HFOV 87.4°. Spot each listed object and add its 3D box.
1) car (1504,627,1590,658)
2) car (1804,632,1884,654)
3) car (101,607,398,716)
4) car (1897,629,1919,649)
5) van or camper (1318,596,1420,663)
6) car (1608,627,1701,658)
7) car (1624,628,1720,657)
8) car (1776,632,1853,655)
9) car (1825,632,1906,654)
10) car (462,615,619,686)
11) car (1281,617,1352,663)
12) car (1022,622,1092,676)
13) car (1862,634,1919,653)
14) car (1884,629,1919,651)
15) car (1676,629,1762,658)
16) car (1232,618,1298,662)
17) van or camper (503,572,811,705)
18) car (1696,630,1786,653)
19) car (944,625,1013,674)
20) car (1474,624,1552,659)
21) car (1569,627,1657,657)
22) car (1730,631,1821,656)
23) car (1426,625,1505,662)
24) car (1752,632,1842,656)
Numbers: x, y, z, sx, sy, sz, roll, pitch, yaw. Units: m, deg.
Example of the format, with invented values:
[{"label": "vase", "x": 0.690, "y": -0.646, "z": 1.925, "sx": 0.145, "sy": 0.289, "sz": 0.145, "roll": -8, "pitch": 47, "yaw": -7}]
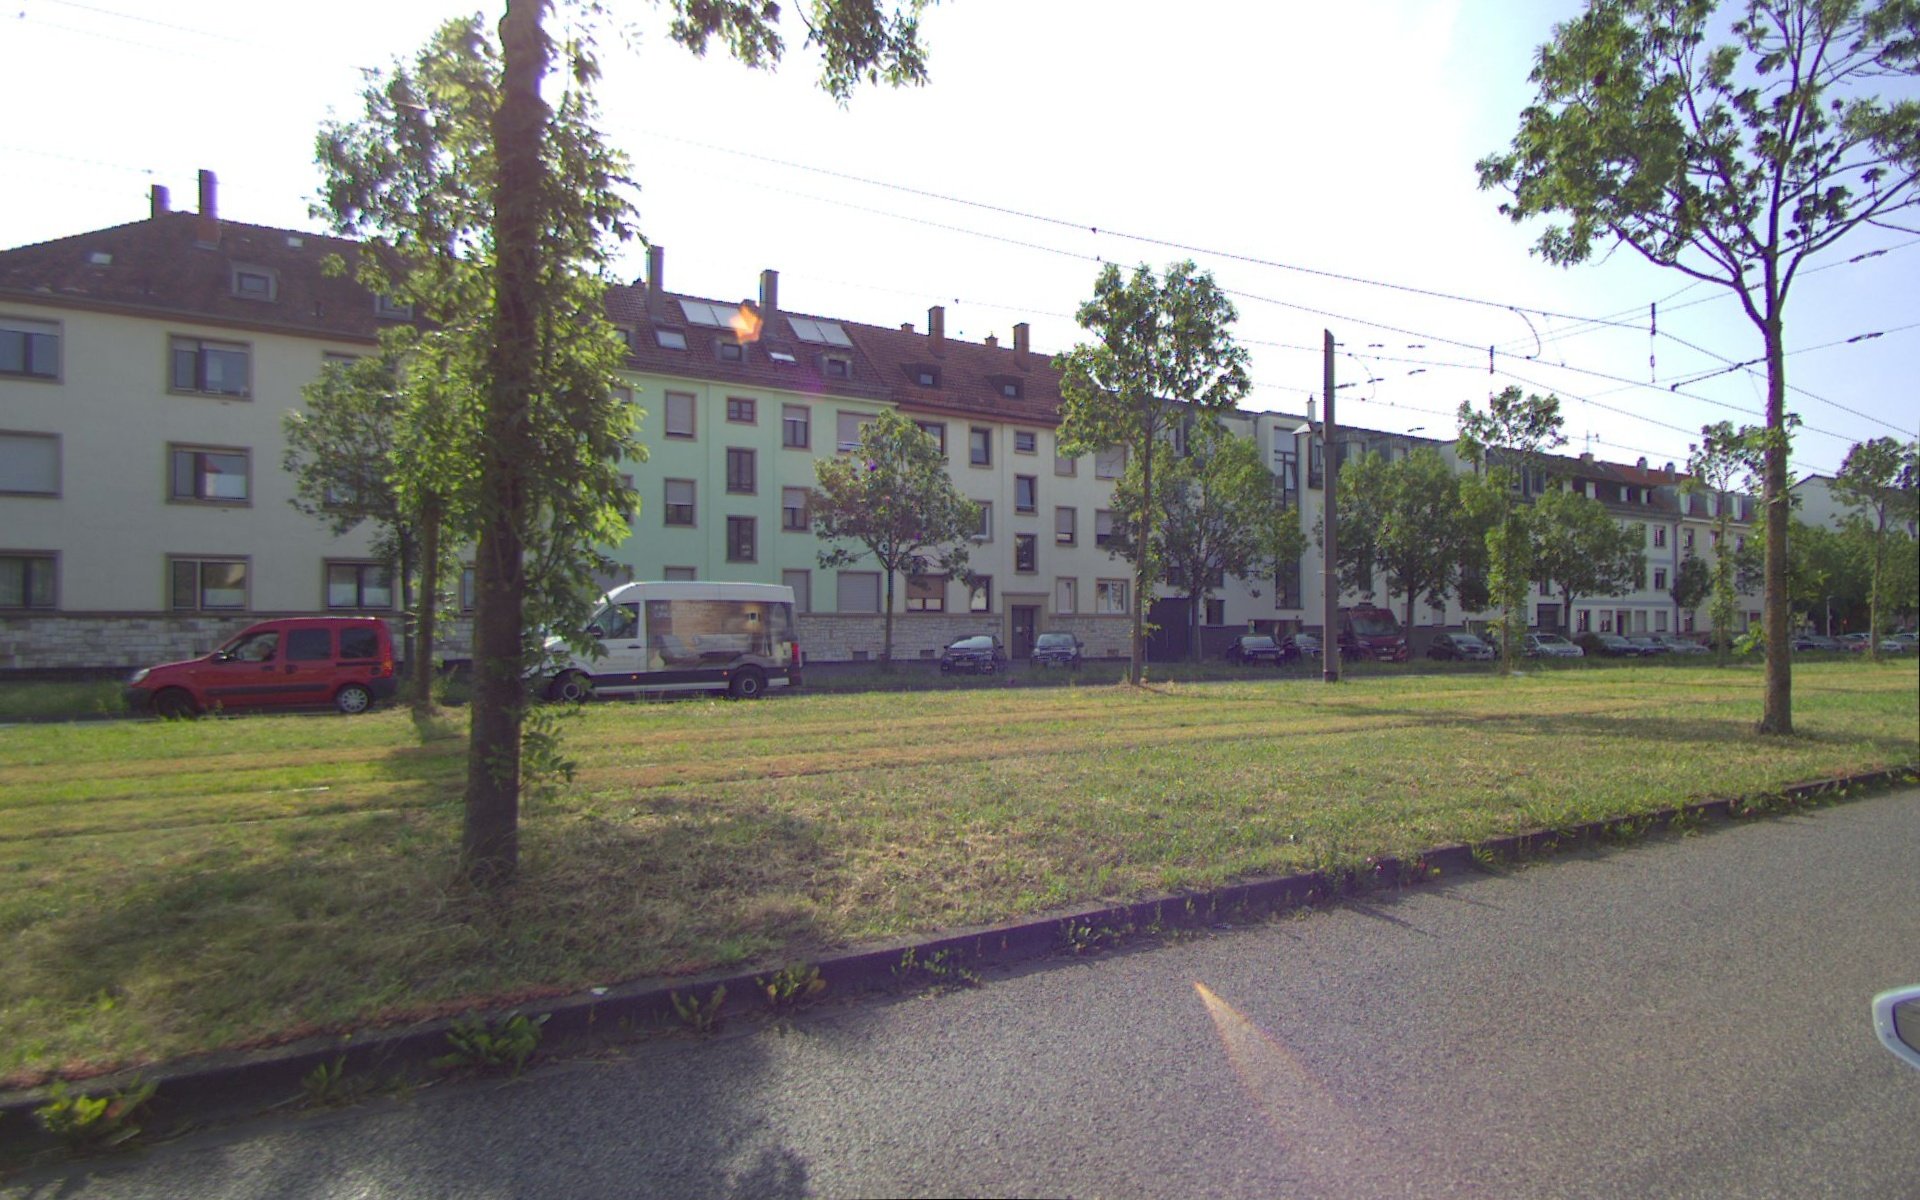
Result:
[{"label": "car", "x": 27.778, "y": 1.983, "z": 47.691, "sx": 1.699, "sy": 1.338, "sz": 4.401, "roll": 1, "pitch": 0, "yaw": 3}, {"label": "car", "x": 57.992, "y": 2.779, "z": 66.004, "sx": 1.838, "sy": 1.275, "sz": 4.001, "roll": 1, "pitch": 0, "yaw": 3}, {"label": "car", "x": -12.444, "y": 1.077, "z": 17.989, "sx": 4.111, "sy": 1.760, "sz": 1.808, "roll": 1, "pitch": -3, "yaw": -29}, {"label": "car", "x": 72.062, "y": 2.937, "z": 74.095, "sx": 1.924, "sy": 1.483, "sz": 4.355, "roll": 1, "pitch": 0, "yaw": 3}, {"label": "van or camper", "x": 16.952, "y": 1.201, "z": 42.000, "sx": 2.365, "sy": 2.580, "sz": 6.166, "roll": 0, "pitch": -1, "yaw": 6}, {"label": "car", "x": 35.881, "y": 2.168, "z": 52.010, "sx": 1.890, "sy": 1.394, "sz": 3.998, "roll": 1, "pitch": 0, "yaw": -3}, {"label": "car", "x": 38.701, "y": 2.303, "z": 54.719, "sx": 1.962, "sy": 1.394, "sz": 4.337, "roll": 1, "pitch": 0, "yaw": -4}, {"label": "car", "x": 54.683, "y": 2.769, "z": 64.352, "sx": 1.665, "sy": 1.251, "sz": 4.001, "roll": 1, "pitch": 0, "yaw": 3}, {"label": "car", "x": 60.708, "y": 2.866, "z": 67.418, "sx": 1.849, "sy": 1.286, "sz": 4.000, "roll": 1, "pitch": 0, "yaw": 0}, {"label": "car", "x": -10.321, "y": 1.186, "z": 25.055, "sx": 1.776, "sy": 1.550, "sz": 4.101, "roll": 1, "pitch": 0, "yaw": 7}, {"label": "car", "x": 14.303, "y": 1.568, "z": 40.536, "sx": 1.831, "sy": 1.637, "sz": 4.156, "roll": 3, "pitch": 0, "yaw": 8}, {"label": "car", "x": 3.232, "y": 1.530, "z": 32.884, "sx": 1.959, "sy": 1.550, "sz": 4.353, "roll": 1, "pitch": 0, "yaw": 9}, {"label": "car", "x": 66.669, "y": 3.114, "z": 71.402, "sx": 1.959, "sy": 1.194, "sz": 4.002, "roll": 1, "pitch": 0, "yaw": 11}, {"label": "car", "x": 69.112, "y": 2.835, "z": 72.016, "sx": 1.959, "sy": 1.534, "sz": 4.468, "roll": 0, "pitch": -2, "yaw": 6}, {"label": "car", "x": 41.266, "y": 2.348, "z": 54.710, "sx": 1.632, "sy": 1.394, "sz": 3.778, "roll": 1, "pitch": 0, "yaw": -4}, {"label": "car", "x": 12.104, "y": 1.547, "z": 40.128, "sx": 1.831, "sy": 1.529, "sz": 4.156, "roll": 3, "pitch": 0, "yaw": 8}, {"label": "van or camper", "x": -6.390, "y": 0.847, "z": 21.504, "sx": 5.989, "sy": 2.506, "sz": 2.131, "roll": 1, "pitch": -3, "yaw": -31}, {"label": "car", "x": 45.179, "y": 2.388, "z": 58.230, "sx": 1.962, "sy": 1.305, "sz": 3.998, "roll": 0, "pitch": -2, "yaw": -4}, {"label": "car", "x": 0.636, "y": 1.516, "z": 31.653, "sx": 1.737, "sy": 1.360, "sz": 3.780, "roll": 1, "pitch": 0, "yaw": 7}, {"label": "car", "x": 25.115, "y": 1.873, "z": 45.741, "sx": 1.609, "sy": 1.453, "sz": 3.723, "roll": 1, "pitch": 0, "yaw": 3}, {"label": "car", "x": 33.533, "y": 2.140, "z": 51.725, "sx": 1.800, "sy": 1.394, "sz": 3.998, "roll": 1, "pitch": 0, "yaw": -3}, {"label": "car", "x": 48.109, "y": 2.528, "z": 59.328, "sx": 1.962, "sy": 1.305, "sz": 3.998, "roll": 1, "pitch": 0, "yaw": -4}, {"label": "car", "x": 22.427, "y": 1.901, "z": 44.722, "sx": 1.746, "sy": 1.439, "sz": 4.002, "roll": 1, "pitch": 0, "yaw": 5}, {"label": "car", "x": 50.290, "y": 2.630, "z": 60.459, "sx": 1.961, "sy": 1.305, "sz": 4.058, "roll": 1, "pitch": 0, "yaw": -3}]
